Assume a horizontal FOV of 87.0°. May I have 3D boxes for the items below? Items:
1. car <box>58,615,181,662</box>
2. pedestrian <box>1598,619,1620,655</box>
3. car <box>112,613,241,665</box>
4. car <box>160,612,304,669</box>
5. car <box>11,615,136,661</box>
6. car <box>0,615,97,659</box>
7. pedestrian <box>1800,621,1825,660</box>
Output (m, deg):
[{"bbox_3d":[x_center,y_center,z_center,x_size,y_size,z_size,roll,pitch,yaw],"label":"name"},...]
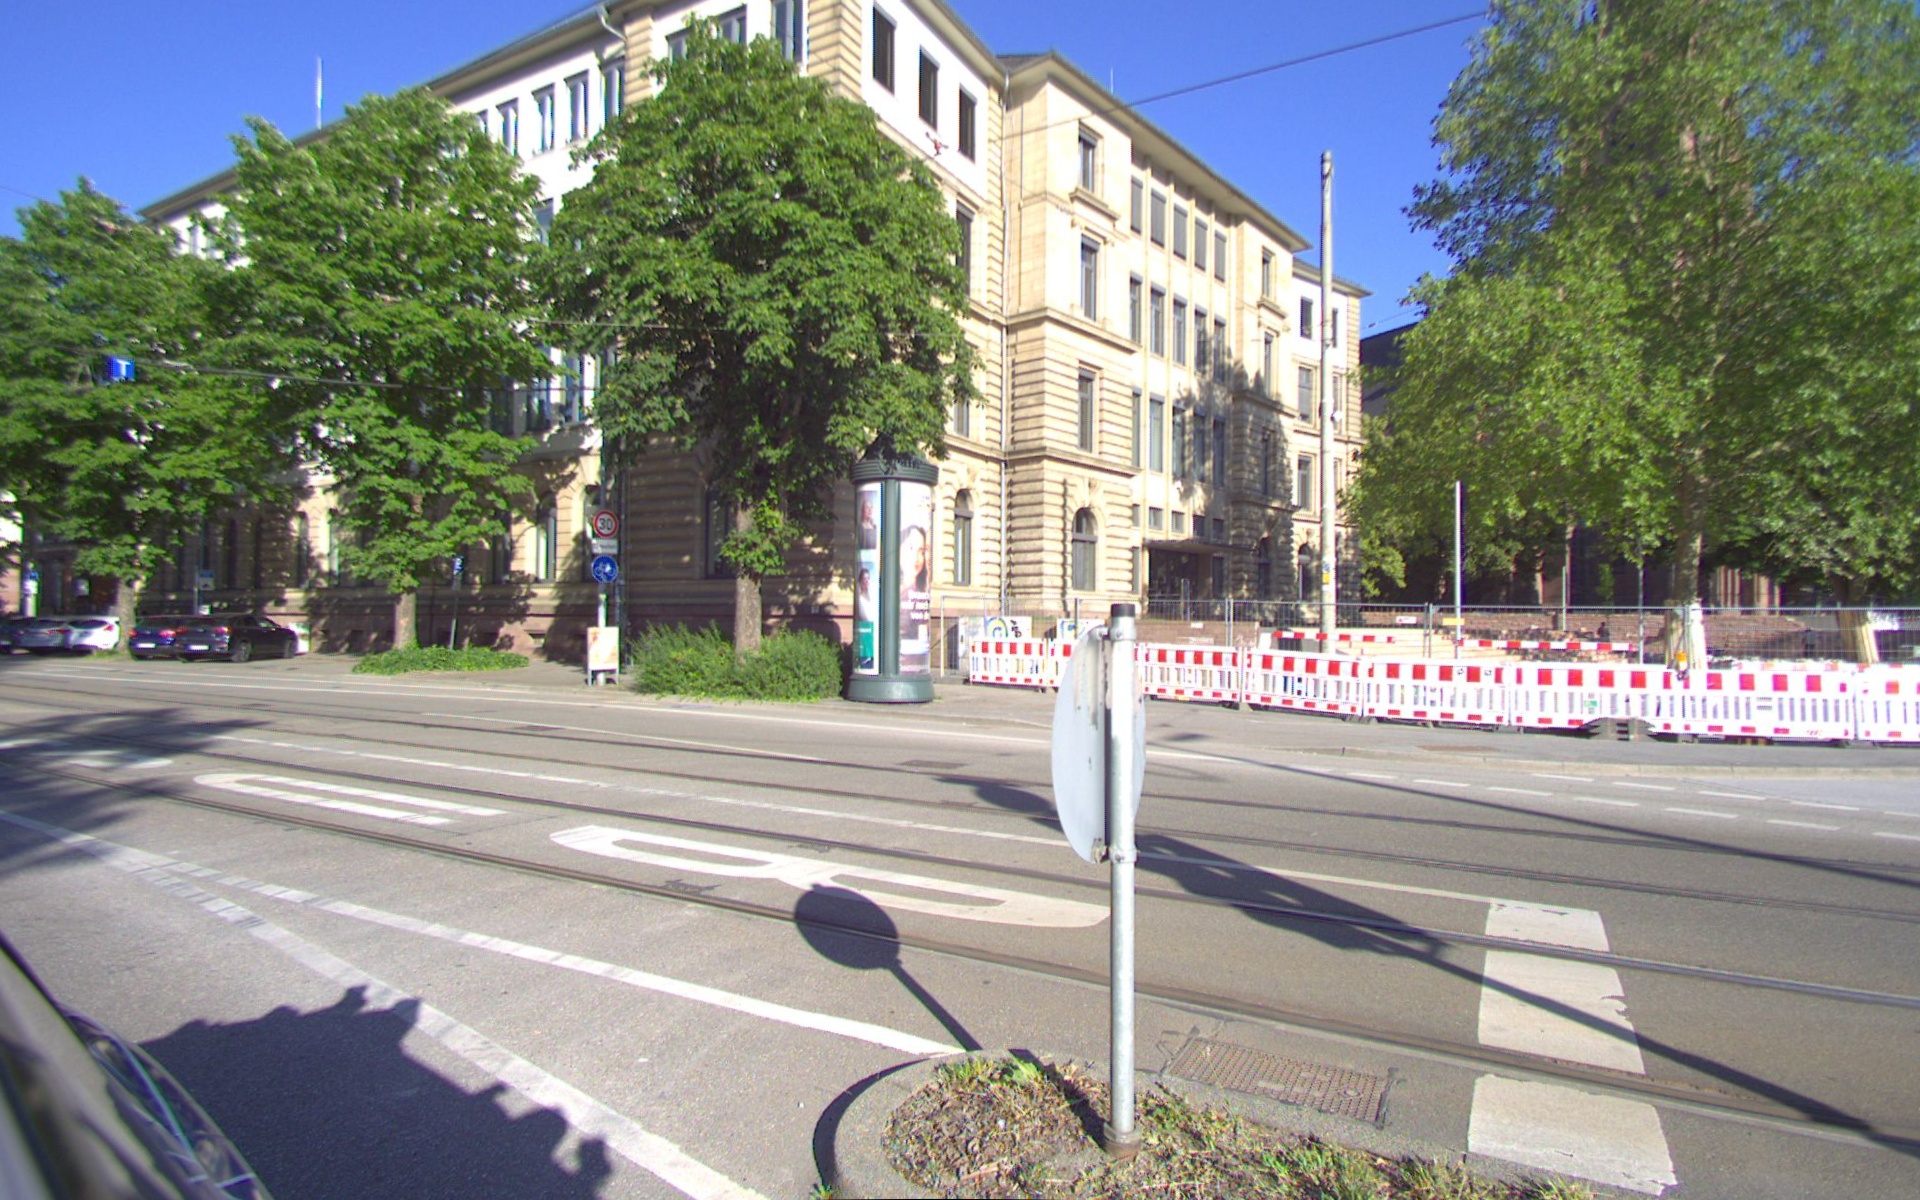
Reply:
[{"bbox_3d":[-30.916,1.377,37.355,1.626,1.572,3.652,-1,0,-3],"label":"car"},{"bbox_3d":[30.553,1.732,47.654,0.627,1.660,0.677,1,-2,-37],"label":"pedestrian"},{"bbox_3d":[-26.245,1.274,34.039,1.626,1.572,3.652,-1,0,-3],"label":"car"},{"bbox_3d":[-23.616,1.264,33.037,1.819,1.643,4.184,-1,0,-3],"label":"car"},{"bbox_3d":[-33.229,1.394,38.066,1.626,1.572,3.652,-1,0,-3],"label":"car"},{"bbox_3d":[-36.245,1.417,39.775,1.626,1.572,3.652,-1,0,-3],"label":"car"},{"bbox_3d":[36.853,1.731,43.739,0.666,1.660,0.762,1,-2,-45],"label":"pedestrian"}]
